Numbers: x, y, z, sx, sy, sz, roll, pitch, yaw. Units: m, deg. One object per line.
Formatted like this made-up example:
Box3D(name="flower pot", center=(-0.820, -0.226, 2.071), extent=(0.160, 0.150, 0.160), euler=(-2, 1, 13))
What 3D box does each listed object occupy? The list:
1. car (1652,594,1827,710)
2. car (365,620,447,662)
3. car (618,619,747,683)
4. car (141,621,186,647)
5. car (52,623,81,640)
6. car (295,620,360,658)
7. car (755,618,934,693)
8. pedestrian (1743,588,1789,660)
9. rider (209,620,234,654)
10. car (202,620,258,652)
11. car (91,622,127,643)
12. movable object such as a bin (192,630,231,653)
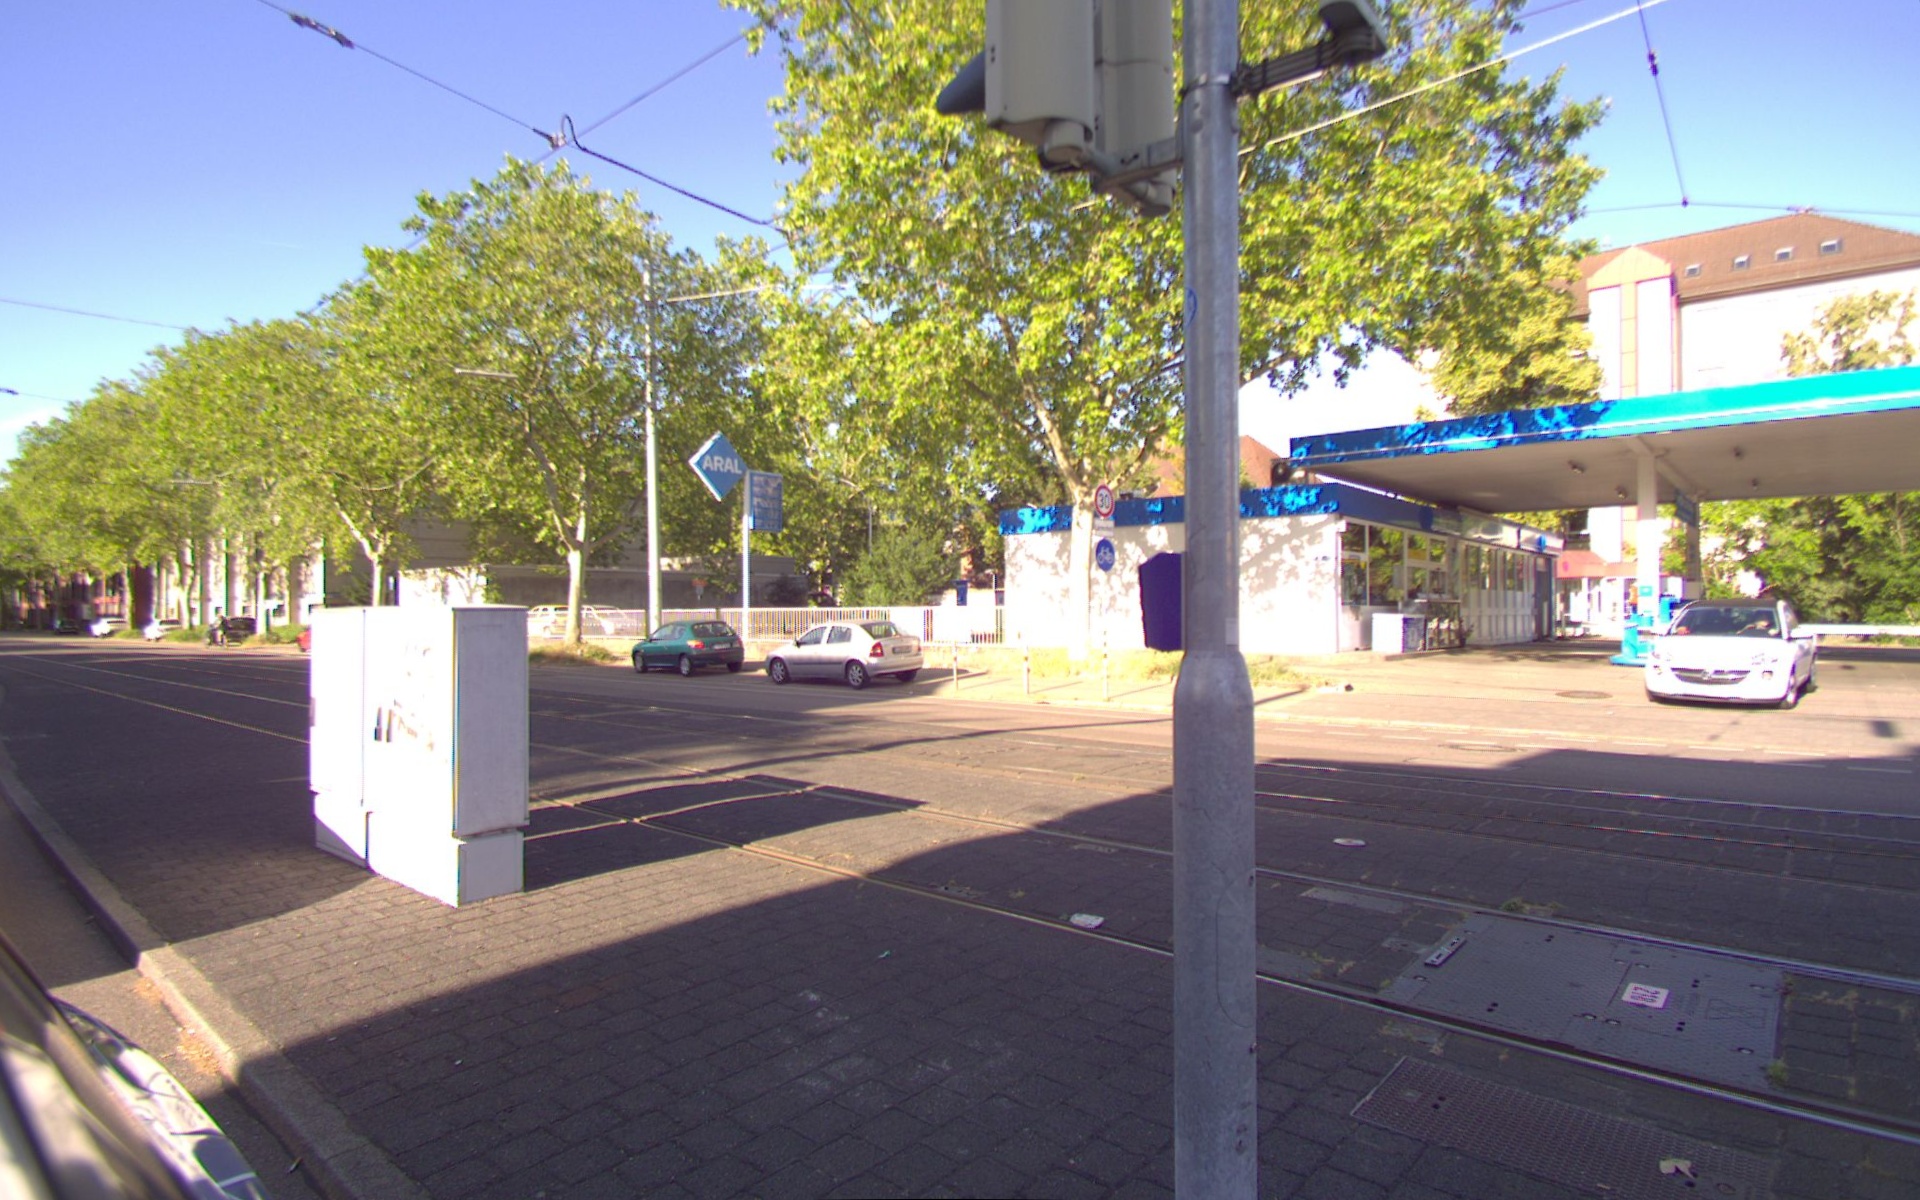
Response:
Box3D(name="car", center=(11.834, 0.680, 15.274), extent=(1.744, 1.446, 3.880), euler=(-1, 1, 43))
Box3D(name="car", center=(-21.891, 1.564, 39.945), extent=(3.769, 1.455, 1.701), euler=(-1, 2, 43))
Box3D(name="car", center=(-7.409, 1.296, 26.902), extent=(3.606, 1.455, 1.598), euler=(-1, 2, 43))
Box3D(name="car", center=(-53.709, 2.280, 68.245), extent=(3.878, 1.552, 1.731), euler=(-1, 2, 43))
Box3D(name="car", center=(-85.045, 3.004, 96.331), extent=(3.731, 1.471, 1.639), euler=(-1, 2, 43))
Box3D(name="car", center=(-28.787, 1.745, 46.006), extent=(3.377, 1.506, 1.639), euler=(-1, 2, 43))
Box3D(name="car", center=(-2.636, 1.185, 22.599), extent=(3.987, 1.376, 1.666), euler=(-2, 3, 41))
Box3D(name="pedestrian", center=(19.464, 0.579, 24.435), extent=(0.847, 1.715, 0.640), euler=(-1, -3, 40))
Box3D(name="rider", center=(-36.415, 1.816, 49.903), extent=(1.105, 1.660, 0.716), euler=(-1, 0, 39))
Box3D(name="car", center=(-40.756, 1.982, 56.481), extent=(3.878, 1.603, 1.731), euler=(-1, 2, 43))
Box3D(name="car", center=(-66.796, 2.495, 79.412), extent=(3.731, 1.471, 1.639), euler=(-1, 2, 43))
Box3D(name="movable object such as a bin", center=(-37.485, 2.061, 50.670), extent=(1.833, 1.111, 1.163), euler=(-1, 0, 39))
